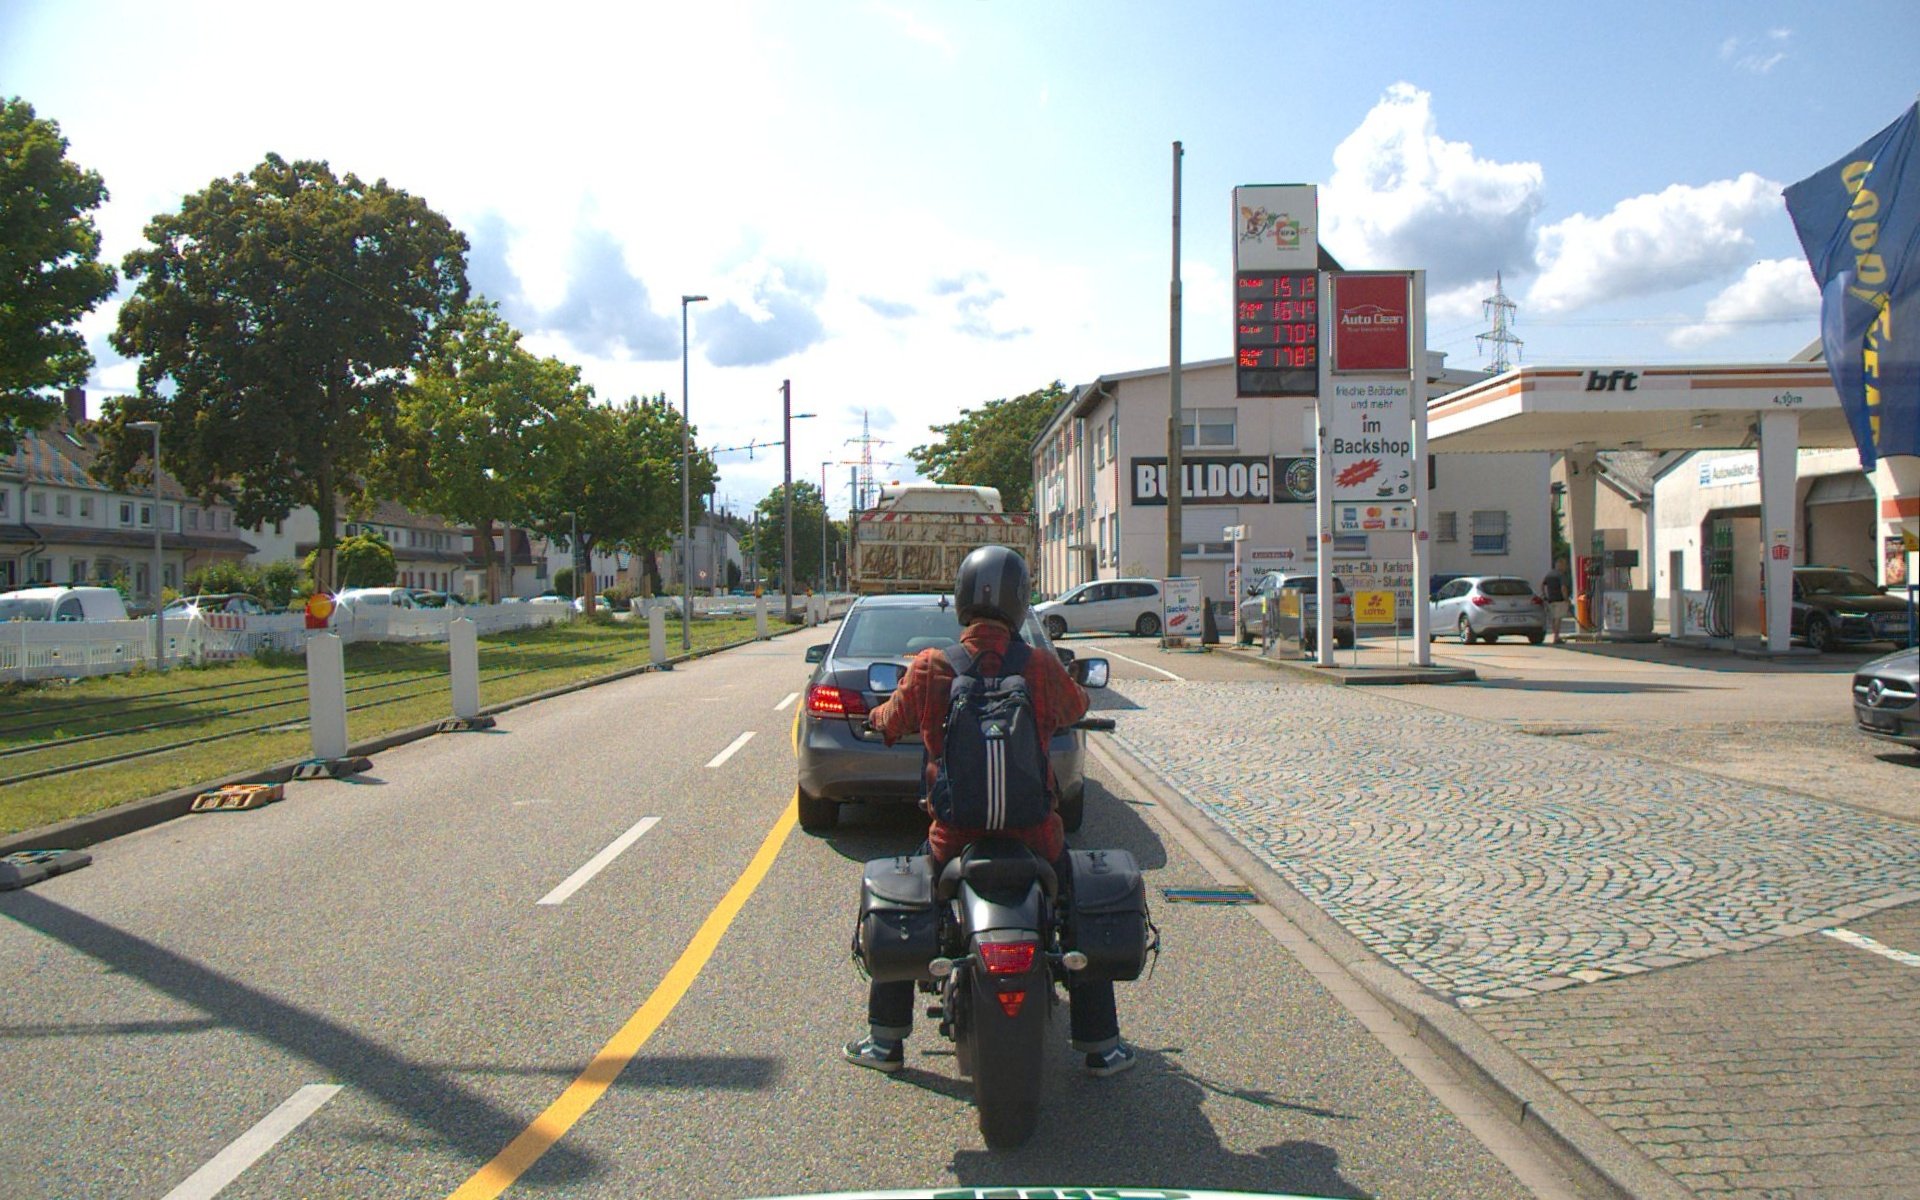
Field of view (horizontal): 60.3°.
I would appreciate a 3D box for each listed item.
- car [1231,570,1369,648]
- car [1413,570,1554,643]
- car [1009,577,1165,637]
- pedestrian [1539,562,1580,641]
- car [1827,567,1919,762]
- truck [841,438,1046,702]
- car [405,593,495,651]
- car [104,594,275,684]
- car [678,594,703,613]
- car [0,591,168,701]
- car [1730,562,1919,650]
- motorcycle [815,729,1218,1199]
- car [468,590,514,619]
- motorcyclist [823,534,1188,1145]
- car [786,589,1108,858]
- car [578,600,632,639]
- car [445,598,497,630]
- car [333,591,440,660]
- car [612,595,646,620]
[{"bbox_3d":[7.453,0.179,36.626,1.636,1.589,4.236,-1,0,-8],"label":"car"},{"bbox_3d":[11.717,0.123,37.261,1.770,1.529,3.831,-1,0,-3],"label":"car"},{"bbox_3d":[3.599,0.187,47.109,4.152,1.570,1.669,-1,0,-9],"label":"car"},{"bbox_3d":[12.949,0.034,35.707,0.696,1.685,0.546,-1,0,35],"label":"pedestrian"},{"bbox_3d":[9.212,0.431,12.704,4.182,1.440,1.675,-1,0,4],"label":"car"},{"bbox_3d":[-0.267,-0.422,25.360,2.585,3.354,8.055,-1,0,-1],"label":"truck"},{"bbox_3d":[-16.976,0.701,55.255,1.740,1.837,4.127,-1,0,-1],"label":"car"},{"bbox_3d":[-16.678,0.794,36.020,1.740,1.805,4.227,-1,0,-1],"label":"car"},{"bbox_3d":[-26.082,0.294,160.253,1.740,1.753,4.250,-1,0,-1],"label":"car"},{"bbox_3d":[-16.470,0.784,30.383,1.740,1.853,4.363,-1,0,-1],"label":"car"},{"bbox_3d":[16.406,0.086,31.249,1.770,1.529,3.832,-1,0,-3],"label":"car"},{"bbox_3d":[0.119,0.995,5.318,0.959,0.913,2.653,-1,0,-1],"label":"motorcycle"},{"bbox_3d":[-29.430,0.280,103.947,1.740,1.753,4.127,-1,0,-1],"label":"car"},{"bbox_3d":[0.117,0.641,5.012,0.959,1.630,1.087,-1,0,-1],"label":"motorcyclist"},{"bbox_3d":[-0.100,0.681,11.312,1.786,1.478,3.999,1,0,-1],"label":"car"},{"bbox_3d":[-17.060,0.914,79.680,1.740,1.753,4.127,-1,0,-1],"label":"car"},{"bbox_3d":[-28.304,0.783,95.829,1.740,1.753,4.127,-1,0,-1],"label":"car"},{"bbox_3d":[-16.944,0.717,49.077,1.740,1.900,4.127,-1,0,-1],"label":"car"},{"bbox_3d":[-24.969,0.555,124.847,1.740,1.753,4.127,-1,0,-1],"label":"car"}]
